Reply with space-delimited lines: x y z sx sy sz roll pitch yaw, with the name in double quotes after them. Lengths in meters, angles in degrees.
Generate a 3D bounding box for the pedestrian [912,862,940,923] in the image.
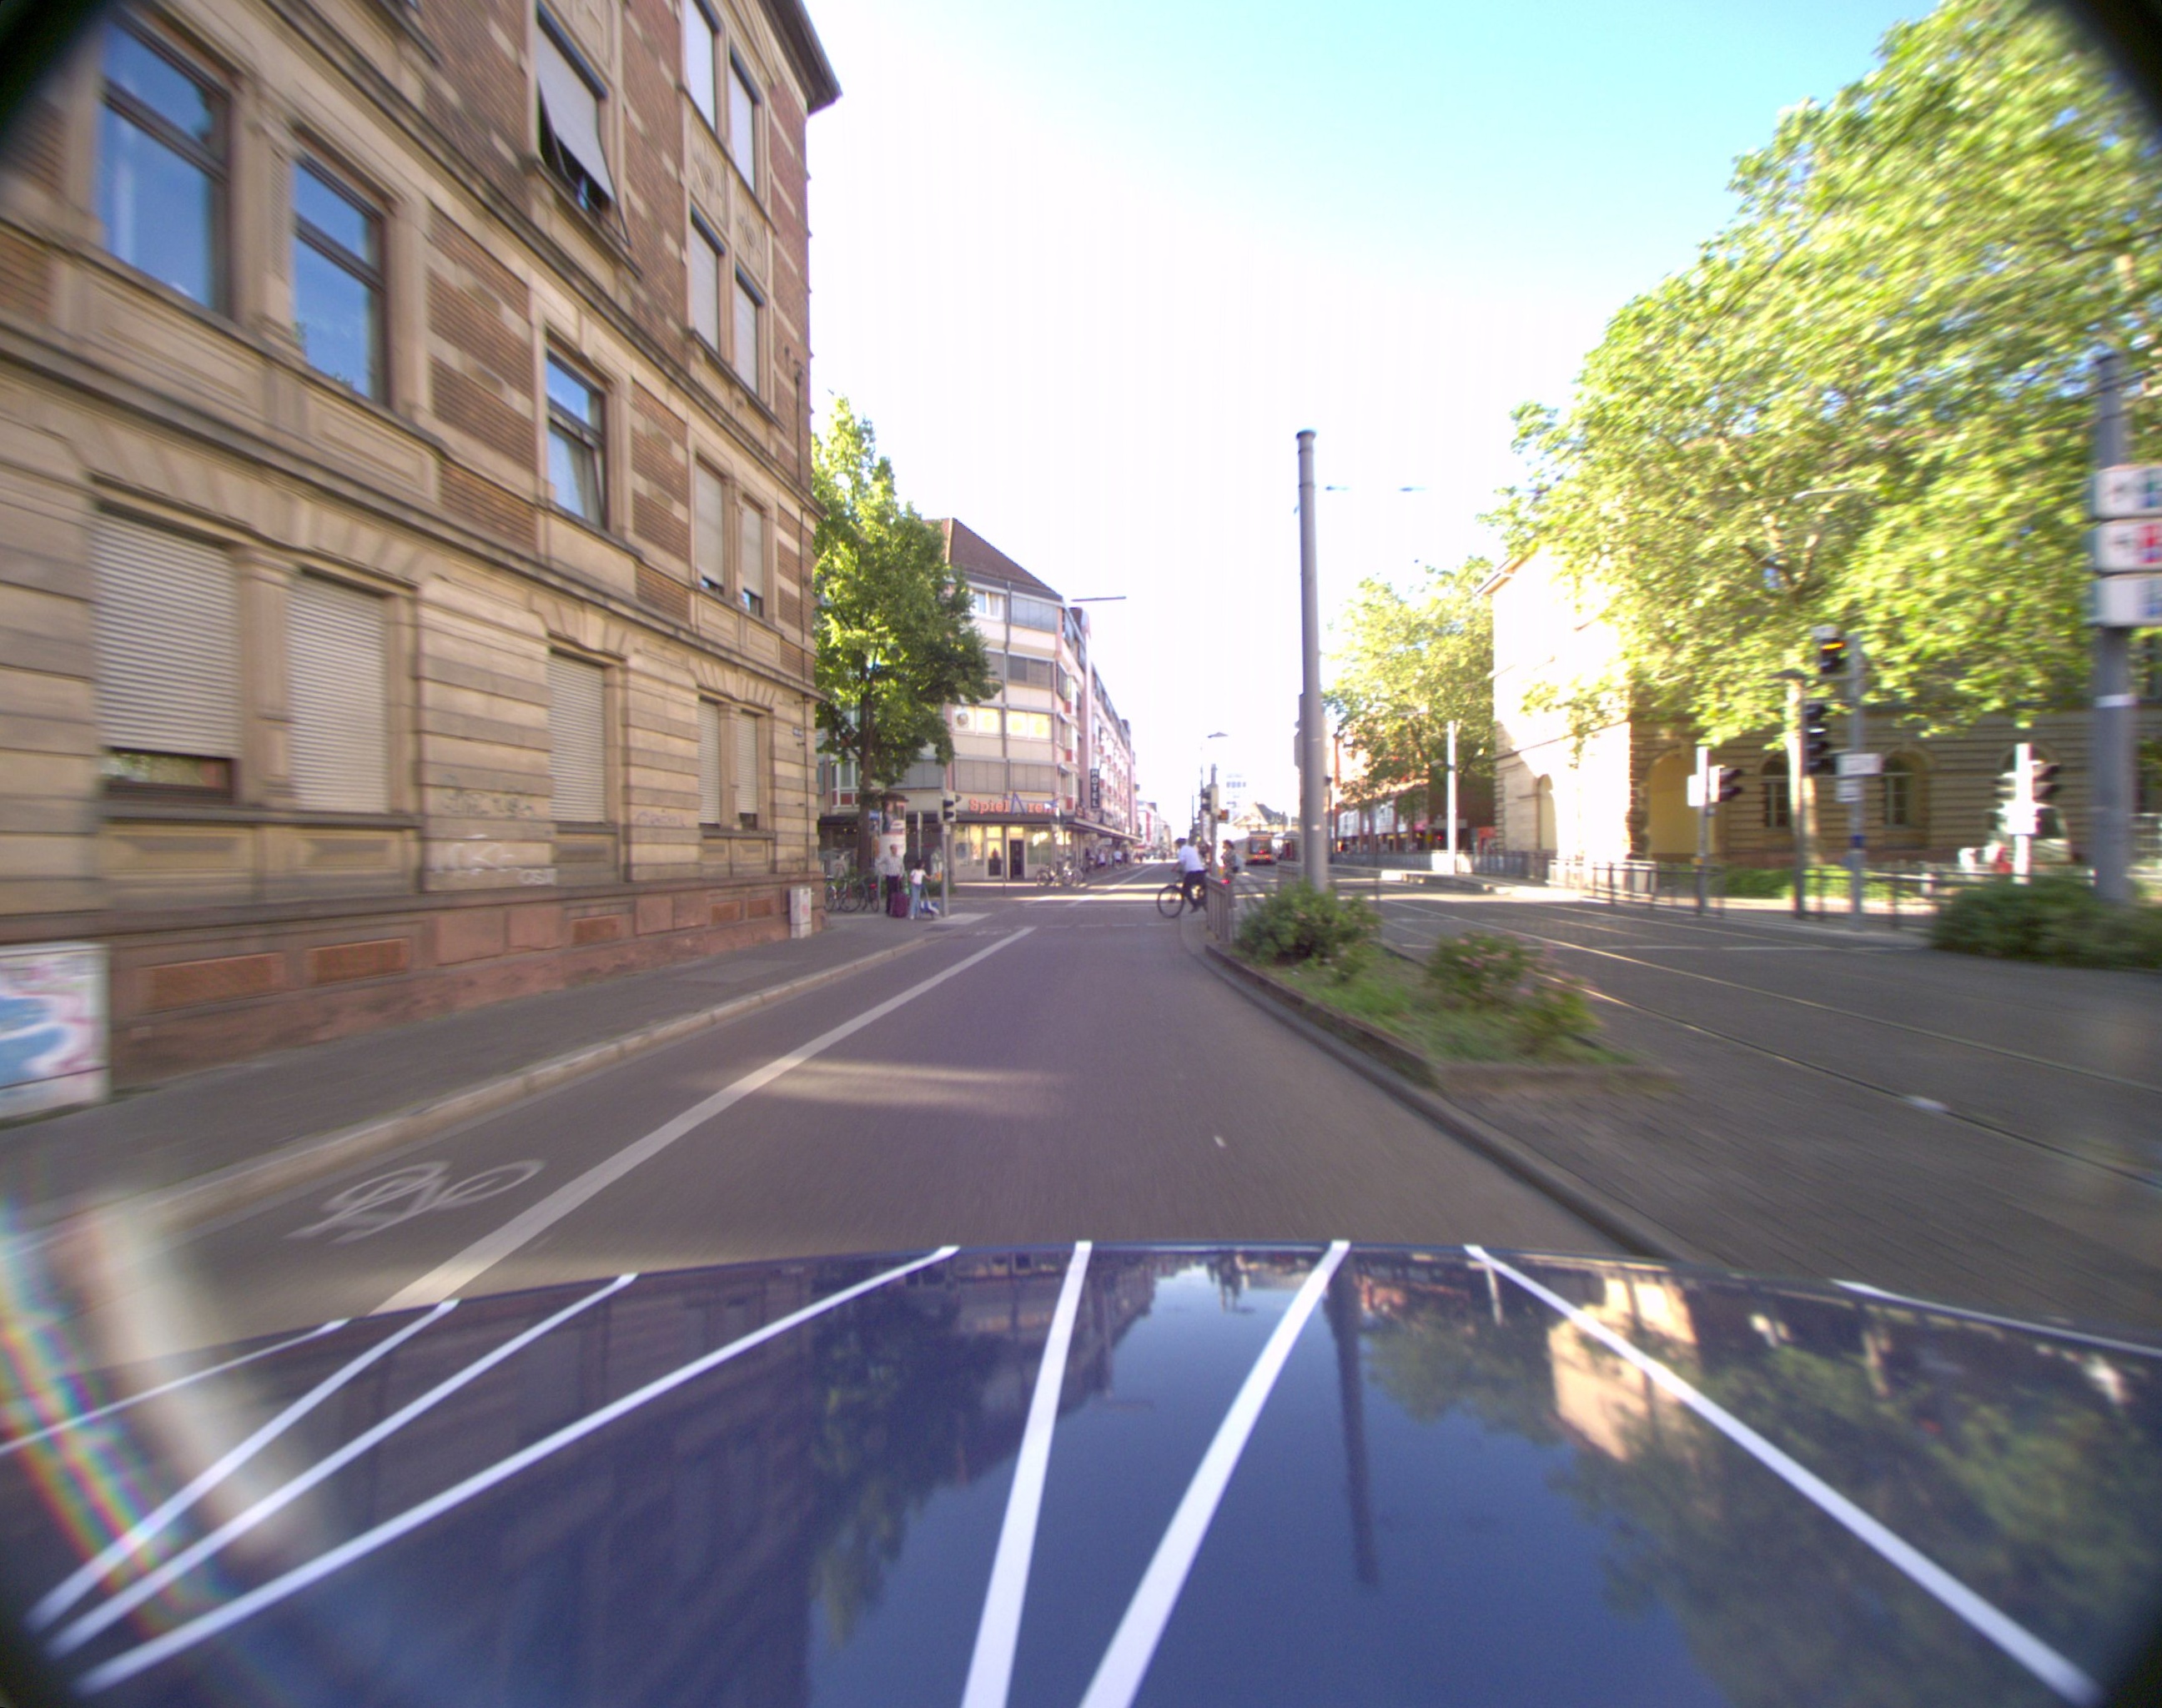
-3.702 0.898 18.156 0.581 1.406 0.575 -3 1 -11 "pedestrian"

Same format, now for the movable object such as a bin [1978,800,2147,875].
27.414 -0.439 21.335 2.643 2.002 1.177 0 1 31 "movable object such as a bin"

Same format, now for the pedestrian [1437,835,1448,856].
30.922 -0.758 64.956 0.688 1.795 0.648 -1 1 9 "pedestrian"

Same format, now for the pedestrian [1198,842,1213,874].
5.154 0.178 31.482 0.480 1.322 0.355 0 2 37 "pedestrian"

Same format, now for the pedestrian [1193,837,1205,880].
5.846 0.211 37.728 0.539 2.108 0.808 -1 1 7 "pedestrian"

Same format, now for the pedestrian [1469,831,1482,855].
31.041 -0.889 59.783 0.707 1.871 0.626 -1 1 12 "pedestrian"

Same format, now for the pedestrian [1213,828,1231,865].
6.633 -0.361 35.704 0.764 1.724 0.590 -1 1 14 "pedestrian"

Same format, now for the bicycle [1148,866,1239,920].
2.456 0.827 16.715 1.939 1.088 0.600 0 2 41 "bicycle"

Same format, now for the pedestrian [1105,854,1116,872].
2.454 0.728 62.903 0.739 1.464 0.707 2 2 9 "pedestrian"

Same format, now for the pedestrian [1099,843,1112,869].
1.659 0.118 51.790 0.745 1.717 0.815 -2 1 8 "pedestrian"

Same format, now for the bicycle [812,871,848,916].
-6.718 1.030 20.310 0.445 1.108 1.810 -2 1 -33 "bicycle"

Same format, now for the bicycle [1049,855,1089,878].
-0.590 0.626 38.114 1.949 1.100 0.564 0 1 6 "bicycle"

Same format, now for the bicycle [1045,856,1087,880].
-0.730 0.683 36.853 1.949 1.159 0.628 0 1 6 "bicycle"

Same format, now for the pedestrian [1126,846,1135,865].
4.369 0.128 67.235 0.668 1.719 0.811 2 2 7 "pedestrian"

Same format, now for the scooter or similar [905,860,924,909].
-4.589 0.818 20.988 0.391 1.282 1.521 -1 1 -8 "scooter or similar"

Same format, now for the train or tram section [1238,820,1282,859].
18.885 -1.407 81.011 2.979 3.623 16.495 -3 0 8 "train or tram section"

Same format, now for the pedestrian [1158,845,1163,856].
11.685 -0.461 111.862 0.708 1.604 0.495 -1 1 7 "pedestrian"

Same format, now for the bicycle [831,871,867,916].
-6.276 1.042 20.522 0.445 1.108 1.810 -2 1 -32 "bicycle"

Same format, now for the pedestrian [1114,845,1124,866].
3.337 0.128 66.769 0.707 1.810 0.764 2 2 8 "pedestrian"

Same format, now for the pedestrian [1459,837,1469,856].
30.333 -0.614 60.160 0.584 1.521 0.474 -1 2 9 "pedestrian"

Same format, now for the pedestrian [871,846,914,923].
-4.576 0.712 18.406 0.851 1.797 0.874 -1 0 -23 "pedestrian"

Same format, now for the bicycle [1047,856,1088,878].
-0.660 0.641 37.504 1.949 1.100 0.564 0 1 6 "bicycle"

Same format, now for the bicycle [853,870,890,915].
-5.661 1.018 20.459 0.445 1.108 1.810 -2 1 -32 "bicycle"

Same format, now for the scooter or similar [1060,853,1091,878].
-0.275 0.590 38.733 1.481 1.222 0.592 1 1 8 "scooter or similar"

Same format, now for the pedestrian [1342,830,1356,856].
17.238 -0.704 48.896 0.697 1.658 1.034 -1 1 8 "pedestrian"

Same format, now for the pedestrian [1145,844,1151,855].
9.061 -0.582 103.254 0.667 1.512 0.789 1 1 1 "pedestrian"

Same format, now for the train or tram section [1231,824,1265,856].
21.014 -1.713 96.158 2.979 3.623 13.950 -3 0 8 "train or tram section"

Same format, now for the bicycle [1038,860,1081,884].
-1.010 0.832 35.468 1.949 1.100 0.564 0 1 6 "bicycle"

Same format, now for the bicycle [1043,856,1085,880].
-0.803 0.673 36.095 1.949 1.100 0.564 0 1 6 "bicycle"

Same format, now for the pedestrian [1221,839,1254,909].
3.708 0.463 18.049 0.518 1.581 0.667 -4 1 -1 "pedestrian"

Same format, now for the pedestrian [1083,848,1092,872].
0.475 0.466 57.071 0.630 1.759 0.501 0 1 8 "pedestrian"

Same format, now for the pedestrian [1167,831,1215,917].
2.435 0.426 16.767 0.593 1.811 0.944 -2 1 39 "pedestrian"
